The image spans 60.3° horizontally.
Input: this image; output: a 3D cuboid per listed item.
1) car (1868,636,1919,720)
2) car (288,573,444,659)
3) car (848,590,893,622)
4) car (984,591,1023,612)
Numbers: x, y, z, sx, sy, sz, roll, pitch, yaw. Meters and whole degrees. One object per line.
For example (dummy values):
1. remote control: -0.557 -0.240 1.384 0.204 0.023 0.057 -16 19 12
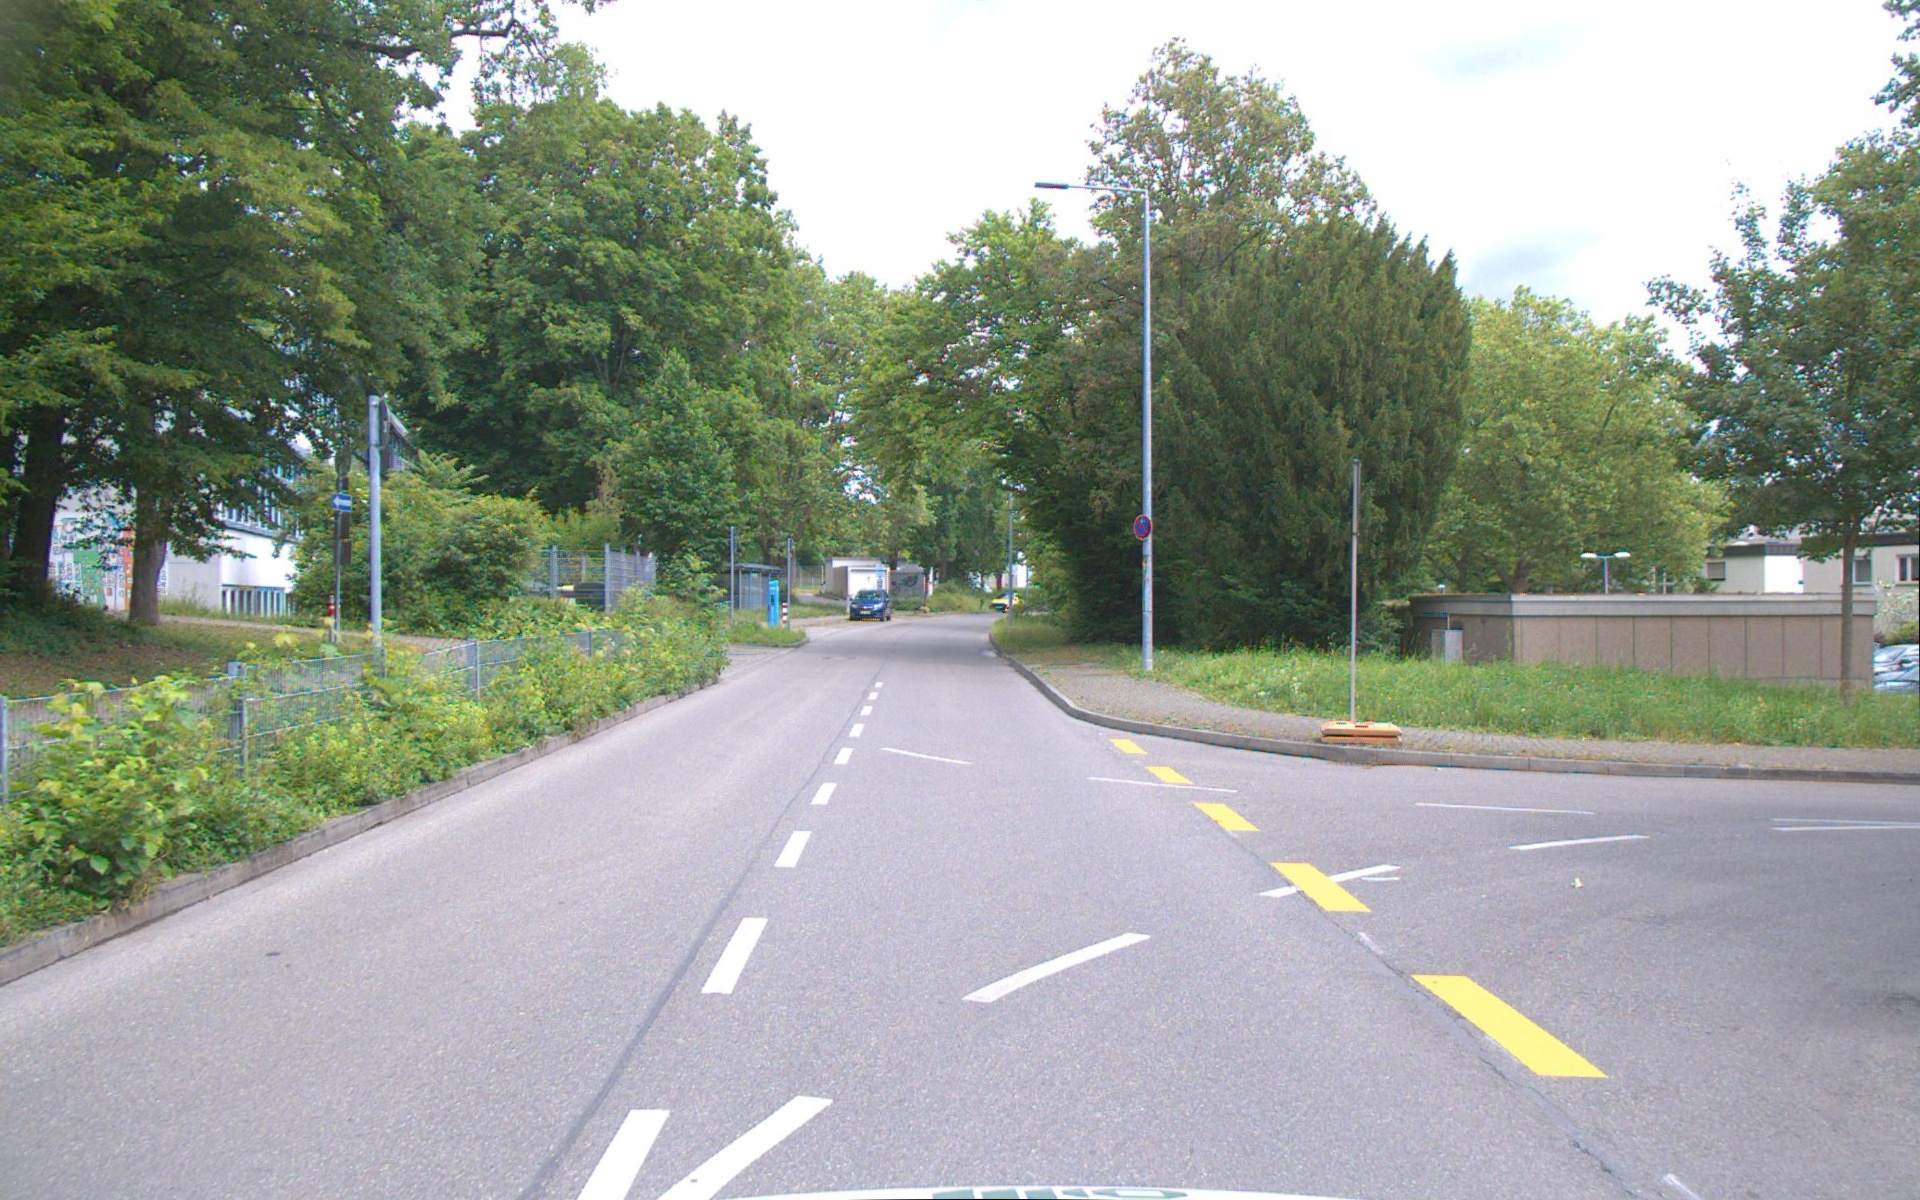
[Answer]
1. car: 17.664 1.371 28.074 3.488 1.338 1.810 2 0 -2
2. car: -14.962 0.372 41.870 1.951 2.049 4.004 0 0 11
3. car: -4.398 0.289 81.681 1.644 1.538 4.433 1 0 4
4. car: 3.158 0.131 119.224 1.664 1.427 4.275 2 0 17
